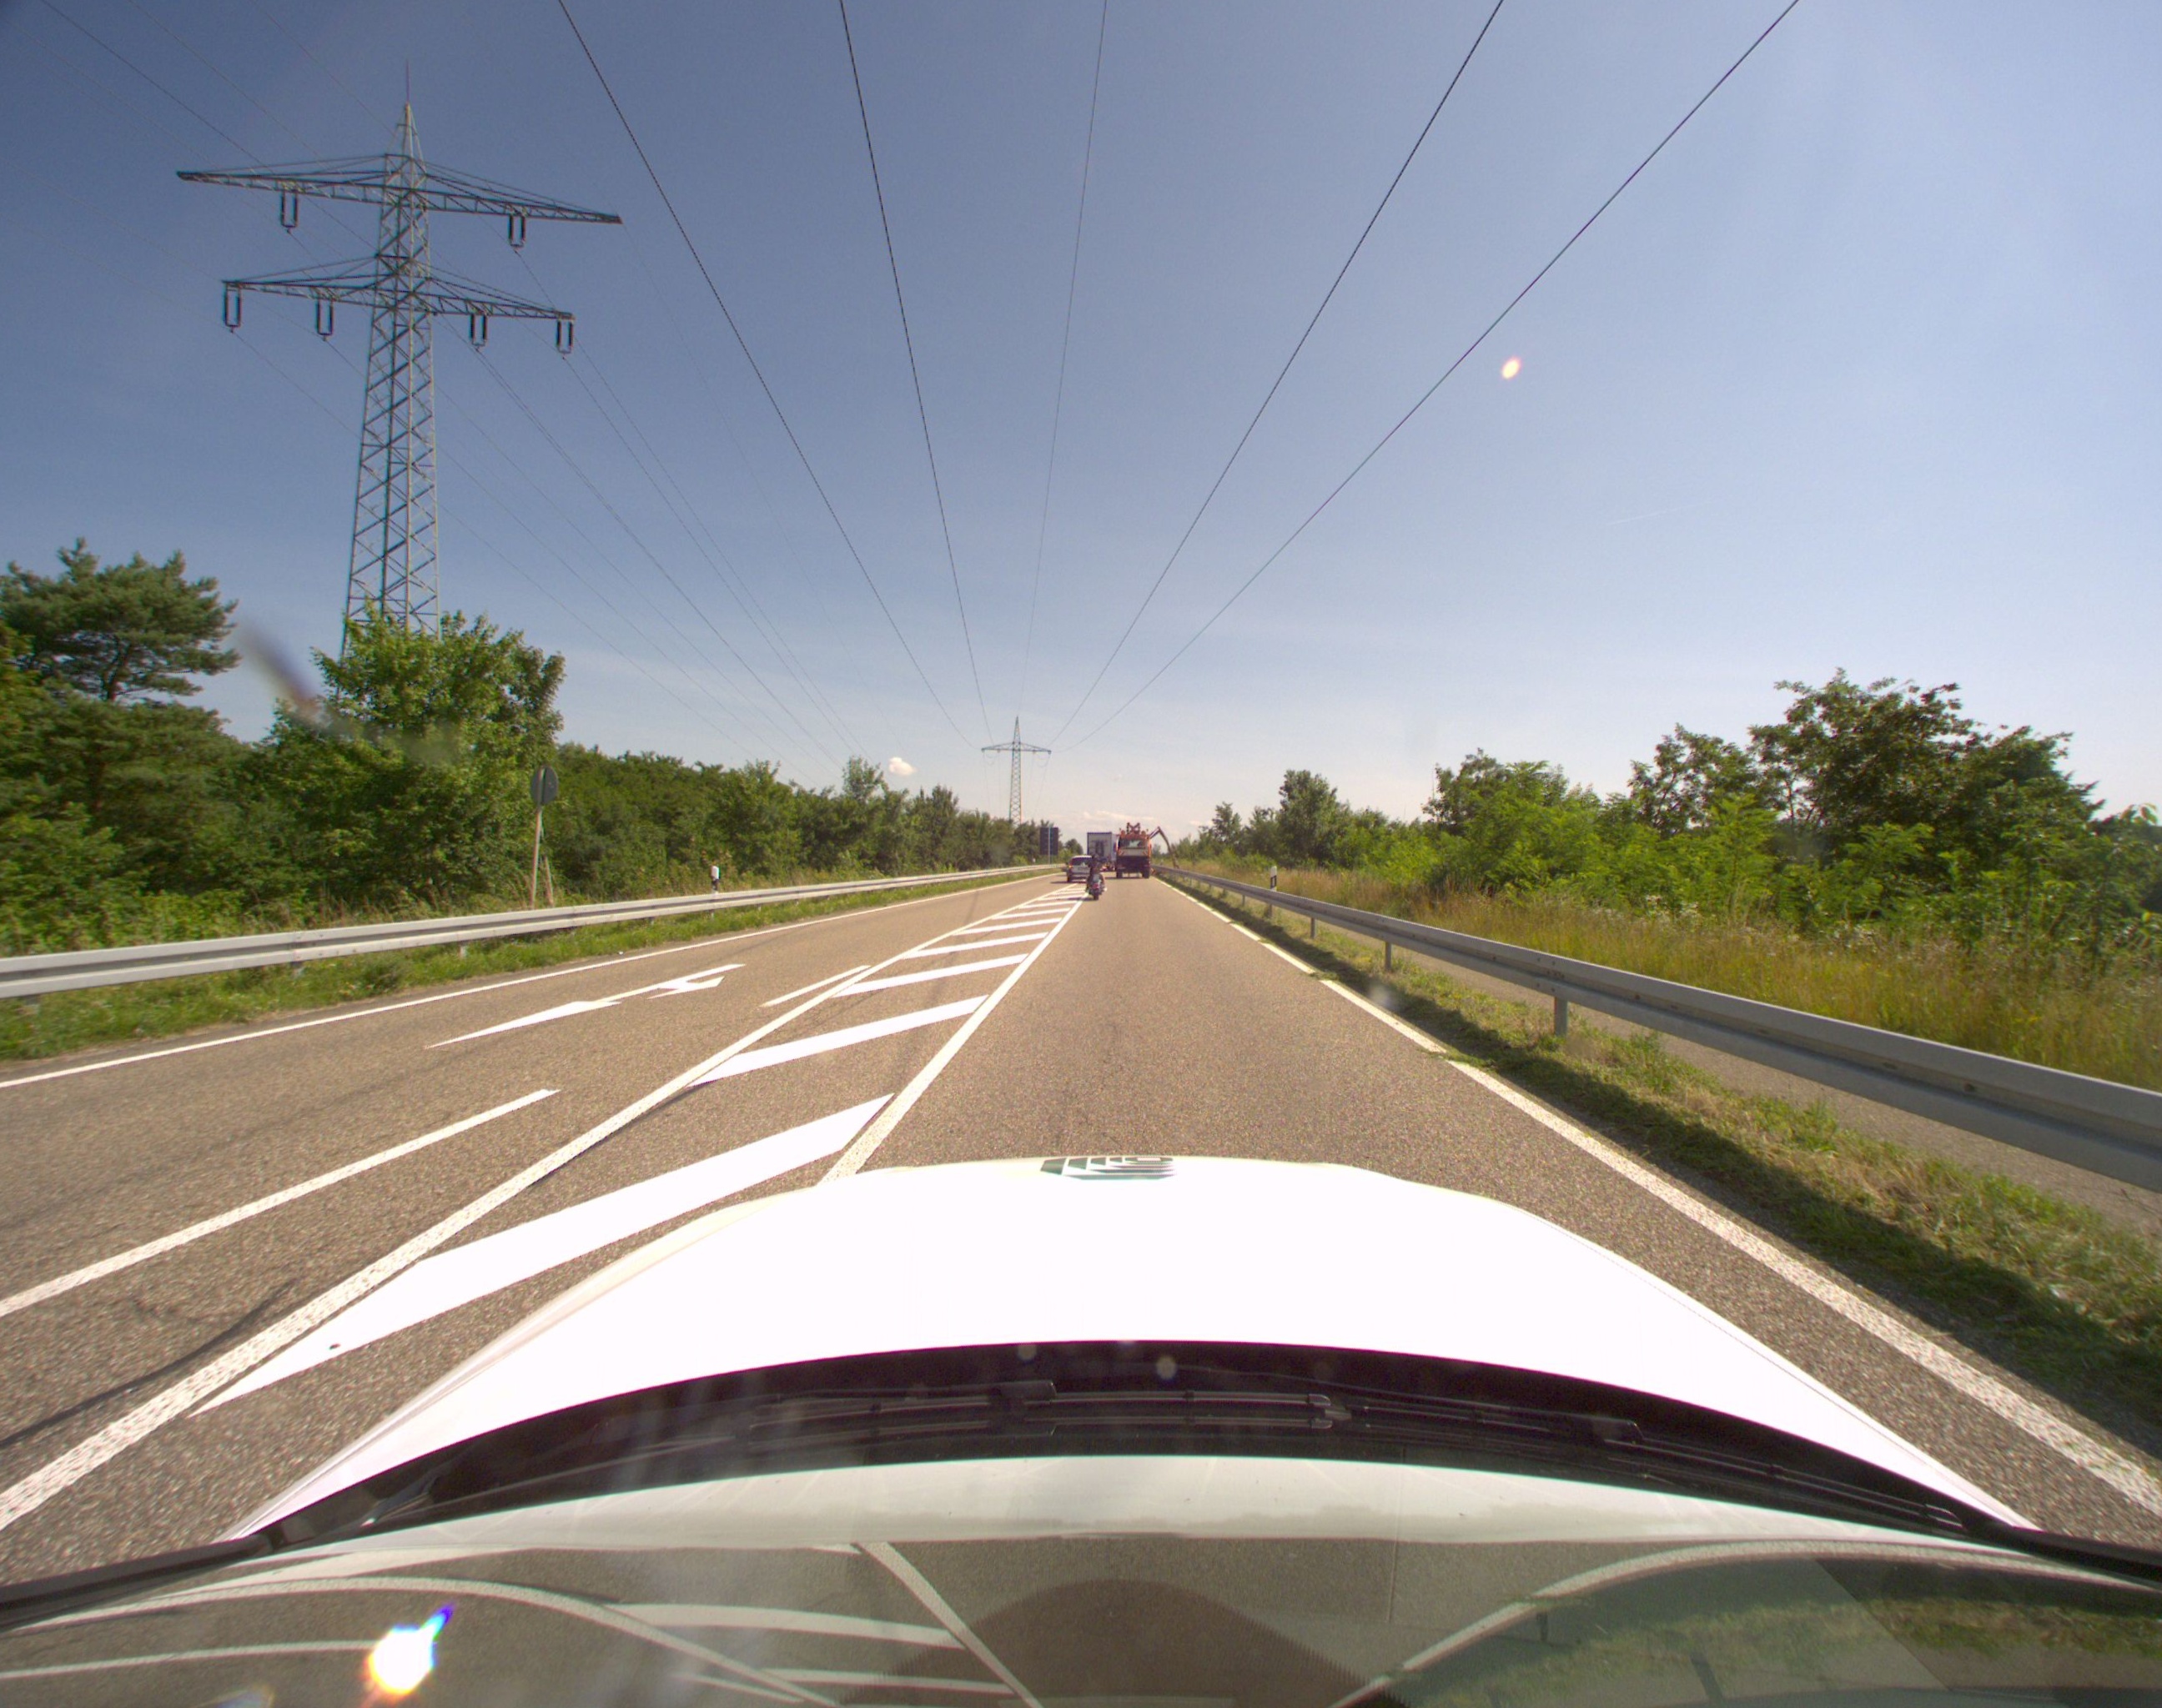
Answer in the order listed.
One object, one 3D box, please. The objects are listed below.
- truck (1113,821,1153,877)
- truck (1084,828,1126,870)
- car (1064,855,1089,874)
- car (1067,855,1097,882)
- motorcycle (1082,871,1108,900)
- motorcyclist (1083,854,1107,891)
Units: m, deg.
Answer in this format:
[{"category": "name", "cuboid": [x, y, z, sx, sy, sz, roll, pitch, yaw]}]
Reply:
[{"category": "truck", "cuboid": [3.600, -0.340, 56.866, 2.603, 3.711, 6.783, 0, 0, 3]}, {"category": "truck", "cuboid": [2.806, -0.520, 89.225, 2.951, 4.187, 14.856, 0, 0, 8]}, {"category": "car", "cuboid": [-0.327, 0.806, 64.632, 1.847, 1.489, 3.742, 0, 0, 2]}, {"category": "car", "cuboid": [0.050, 0.810, 47.072, 1.696, 1.536, 3.498, 0, 0, -1]}, {"category": "motorcycle", "cuboid": [0.497, 1.060, 28.266, 0.856, 0.915, 2.228, 0, 0, 1]}, {"category": "motorcyclist", "cuboid": [0.490, 0.632, 28.356, 0.834, 1.280, 0.919, 0, 0, 1]}]
